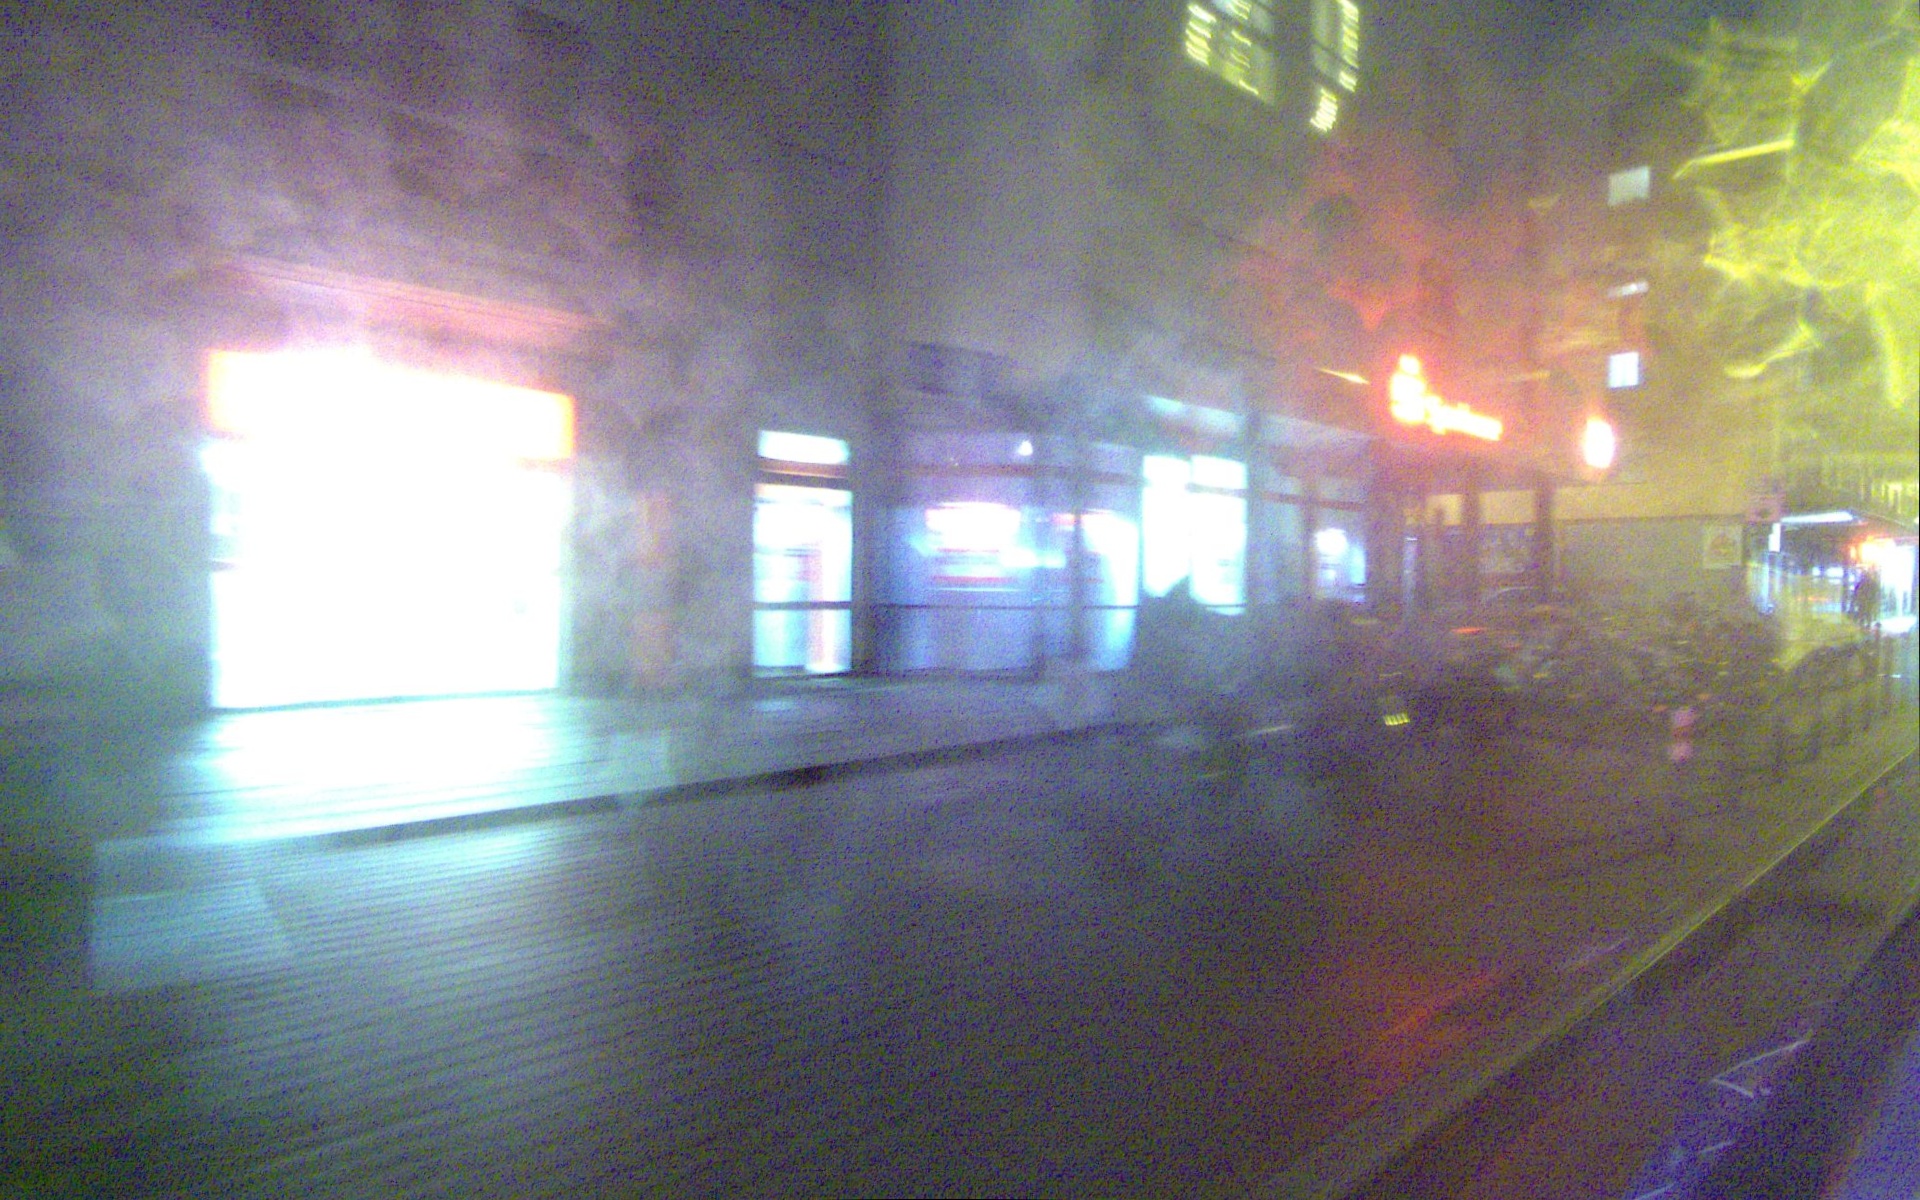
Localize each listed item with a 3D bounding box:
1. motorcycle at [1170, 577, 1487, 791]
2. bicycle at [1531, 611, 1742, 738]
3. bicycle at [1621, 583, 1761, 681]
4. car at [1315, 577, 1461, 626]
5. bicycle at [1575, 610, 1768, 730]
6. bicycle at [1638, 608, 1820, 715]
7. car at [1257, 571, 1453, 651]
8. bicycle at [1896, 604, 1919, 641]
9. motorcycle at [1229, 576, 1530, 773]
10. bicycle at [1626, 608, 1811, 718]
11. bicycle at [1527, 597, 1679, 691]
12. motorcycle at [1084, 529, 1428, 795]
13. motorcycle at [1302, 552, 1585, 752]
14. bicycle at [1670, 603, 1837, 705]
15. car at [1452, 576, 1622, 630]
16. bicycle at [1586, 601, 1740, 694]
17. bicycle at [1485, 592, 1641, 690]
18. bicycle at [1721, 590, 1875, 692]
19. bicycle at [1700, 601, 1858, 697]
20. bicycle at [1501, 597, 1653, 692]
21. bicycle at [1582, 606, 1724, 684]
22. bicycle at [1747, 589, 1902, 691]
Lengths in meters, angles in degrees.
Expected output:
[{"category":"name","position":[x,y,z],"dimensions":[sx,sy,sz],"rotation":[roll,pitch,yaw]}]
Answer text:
[{"category":"motorcycle","position":[2.851,0.559,8.089],"dimensions":[0.852,1.334,2.178],"rotation":[-1,5,-40]},{"category":"bicycle","position":[6.740,0.704,10.184],"dimensions":[0.359,0.963,1.678],"rotation":[0,7,-33]},{"category":"bicycle","position":[10.755,0.443,14.942],"dimensions":[0.360,1.216,1.533],"rotation":[-1,8,-41]},{"category":"car","position":[14.105,0.068,33.519],"dimensions":[1.964,1.527,3.995],"rotation":[-1,0,-39]},{"category":"bicycle","position":[7.316,0.684,10.489],"dimensions":[0.359,0.963,1.536],"rotation":[0,7,-33]},{"category":"bicycle","position":[8.720,0.666,11.527],"dimensions":[0.360,0.963,1.531],"rotation":[-2,8,-44]},{"category":"car","position":[9.628,0.243,24.938],"dimensions":[1.810,1.792,4.154],"rotation":[0,0,-39]},{"category":"bicycle","position":[24.684,0.597,25.043],"dimensions":[0.605,0.905,2.278],"rotation":[1,2,-11]},{"category":"motorcycle","position":[3.525,0.535,8.710],"dimensions":[0.852,1.334,2.178],"rotation":[-1,5,-40]},{"category":"bicycle","position":[8.407,0.665,11.277],"dimensions":[0.360,0.963,1.531],"rotation":[-2,8,-44]},{"category":"bicycle","position":[8.234,0.541,13.023],"dimensions":[0.360,0.963,1.531],"rotation":[-2,8,-44]},{"category":"motorcycle","position":[2.097,0.328,7.545],"dimensions":[0.852,1.607,2.294],"rotation":[-1,5,-40]},{"category":"motorcycle","position":[4.498,0.397,9.593],"dimensions":[0.852,1.565,2.178],"rotation":[-1,5,-40]},{"category":"bicycle","position":[10.018,0.655,12.828],"dimensions":[0.359,1.035,1.535],"rotation":[-1,7,-36]},{"category":"car","position":[17.078,0.088,30.085],"dimensions":[1.861,1.504,3.996],"rotation":[0,0,-39]},{"category":"bicycle","position":[9.129,0.586,13.205],"dimensions":[0.359,0.963,1.535],"rotation":[-1,7,-36]},{"category":"bicycle","position":[7.365,0.471,12.419],"dimensions":[0.360,0.963,1.531],"rotation":[-2,8,-44]},{"category":"bicycle","position":[11.855,0.551,14.363],"dimensions":[0.360,1.216,1.533],"rotation":[-1,8,-41]},{"category":"bicycle","position":[11.005,0.631,13.647],"dimensions":[0.360,1.035,1.533],"rotation":[-1,8,-41]},{"category":"bicycle","position":[7.806,0.539,12.867],"dimensions":[0.360,0.963,1.531],"rotation":[-2,8,-44]},{"category":"bicycle","position":[9.581,0.596,14.045],"dimensions":[0.319,0.843,1.535],"rotation":[-1,7,-36]},{"category":"bicycle","position":[12.333,0.538,14.482],"dimensions":[0.359,1.216,1.534],"rotation":[-1,7,-37]}]
